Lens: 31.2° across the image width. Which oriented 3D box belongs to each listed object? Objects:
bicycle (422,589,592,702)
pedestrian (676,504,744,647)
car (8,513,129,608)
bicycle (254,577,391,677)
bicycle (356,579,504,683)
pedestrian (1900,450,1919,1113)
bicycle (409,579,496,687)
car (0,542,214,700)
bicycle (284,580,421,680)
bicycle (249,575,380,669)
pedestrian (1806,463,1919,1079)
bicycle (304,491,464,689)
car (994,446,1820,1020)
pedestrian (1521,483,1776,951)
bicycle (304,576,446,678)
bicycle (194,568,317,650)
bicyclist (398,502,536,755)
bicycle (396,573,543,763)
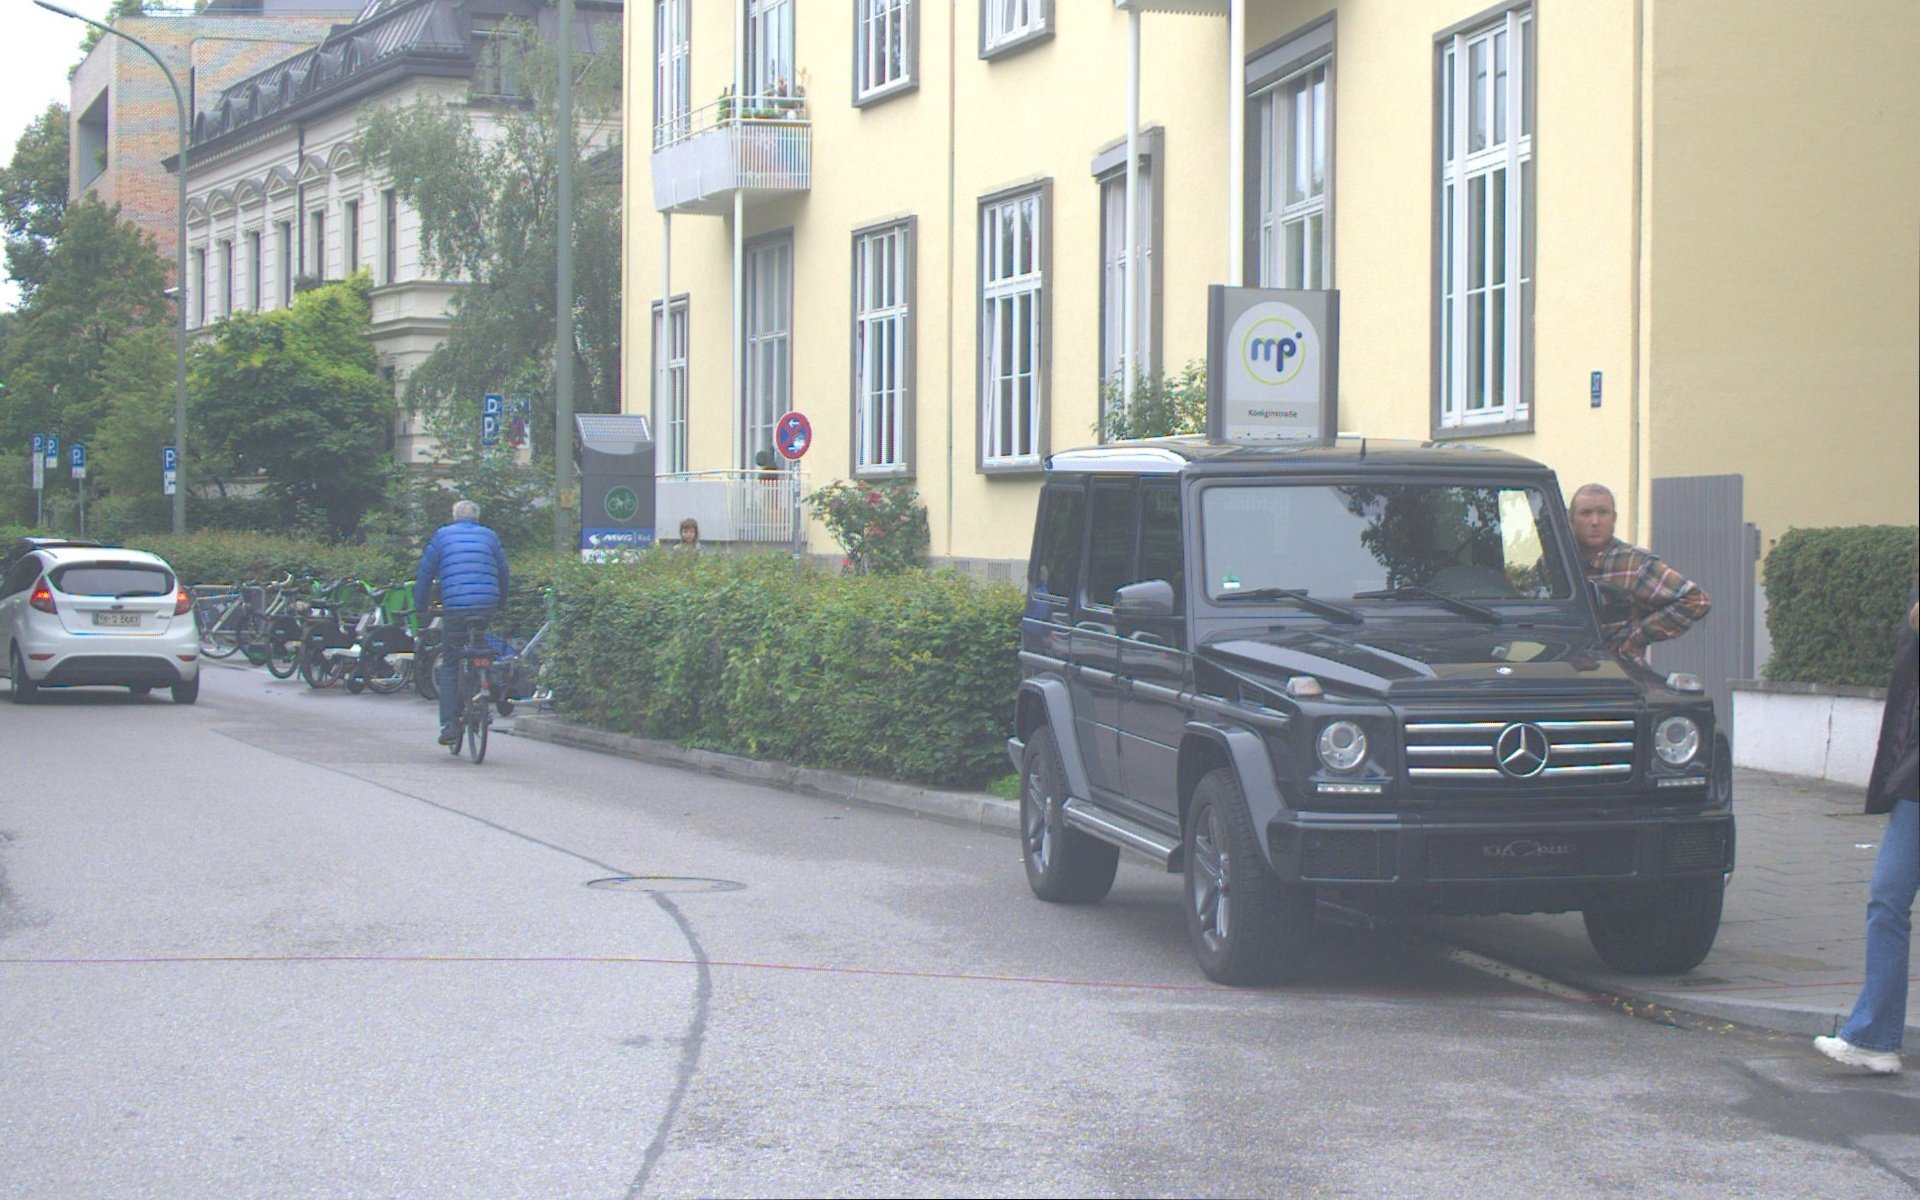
[{"bbox_3d":[-4.285,0.422,32.540,1.532,1.011,0.367,-2,2,-23],"label":"bicycle"},{"bbox_3d":[-2.998,-0.301,41.181,0.631,1.678,0.698,-1,1,-19],"label":"pedestrian"},{"bbox_3d":[-15.196,-0.696,58.528,1.646,1.553,3.560,-1,2,-20],"label":"car"},{"bbox_3d":[-6.865,0.280,37.067,0.409,1.011,1.534,0,2,39],"label":"bicycle"},{"bbox_3d":[-5.451,0.313,35.413,1.533,1.011,0.367,-2,2,-42],"label":"bicycle"},{"bbox_3d":[3.101,0.494,9.285,0.990,1.803,0.659,0,1,7],"label":"pedestrian"},{"bbox_3d":[-5.057,0.317,34.324,0.366,1.011,1.537,-1,2,11],"label":"bicycle"},{"bbox_3d":[-8.333,0.152,32.985,1.747,1.401,3.728,0,1,-21],"label":"car"},{"bbox_3d":[-6.481,0.310,36.742,0.409,1.011,1.534,0,2,39],"label":"bicycle"},{"bbox_3d":[-7.284,0.240,38.860,0.409,1.011,1.534,0,2,39],"label":"bicycle"},{"bbox_3d":[2.903,0.475,10.024,0.827,1.740,0.740,0,1,13],"label":"pedestrian"},{"bbox_3d":[-5.974,-0.123,35.745,0.456,2.006,1.673,0,2,43],"label":"bicycle"},{"bbox_3d":[1.529,0.375,13.696,1.873,1.881,4.620,0,1,-11],"label":"car"},{"bbox_3d":[2.657,0.430,13.354,0.848,1.751,0.953,0,1,4],"label":"pedestrian"},{"bbox_3d":[-6.168,0.273,36.294,0.409,1.011,1.534,0,2,43],"label":"bicycle"},{"bbox_3d":[-9.186,0.109,44.839,1.533,1.011,0.409,-2,2,-38],"label":"bicycle"},{"bbox_3d":[-3.530,0.184,24.554,0.914,1.758,1.215,0,1,-11],"label":"bicyclist"},{"bbox_3d":[-3.520,0.450,24.511,0.920,1.248,2.322,0,1,-11],"label":"bicycle"}]
